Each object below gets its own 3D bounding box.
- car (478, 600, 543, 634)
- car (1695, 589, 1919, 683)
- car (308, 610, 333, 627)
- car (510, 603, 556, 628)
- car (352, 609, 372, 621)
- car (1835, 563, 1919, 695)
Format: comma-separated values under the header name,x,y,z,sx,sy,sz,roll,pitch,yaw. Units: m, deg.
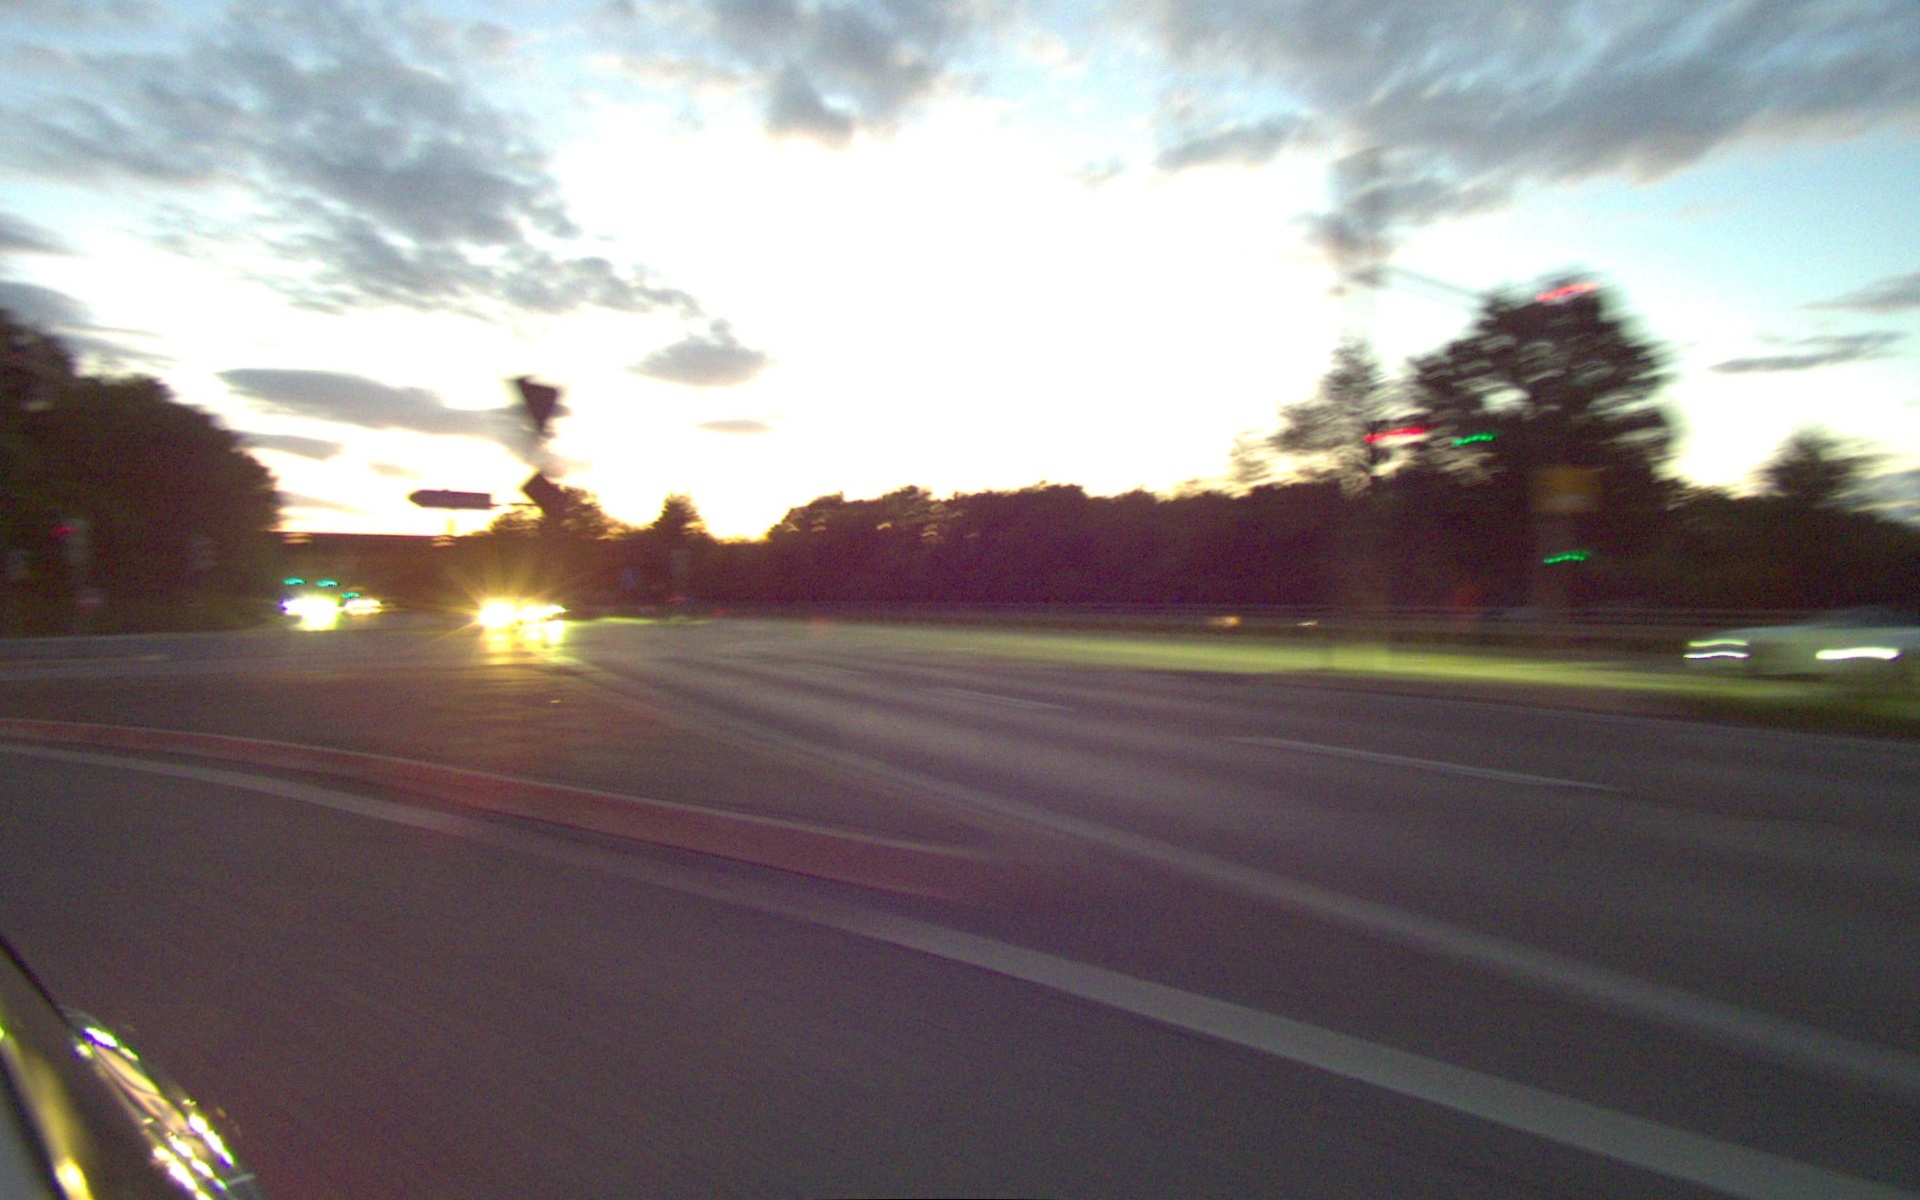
name,x,y,z,sx,sy,sz,roll,pitch,yaw
car,-20.466,0.789,45.973,1.967,1.464,4.010,2,-2,-35
car,15.385,0.572,16.802,1.966,1.464,4.747,0,-1,-34
car,-70.644,2.012,111.852,1.974,1.741,4.013,0,0,-27
car,-26.471,0.923,62.626,1.966,1.464,4.748,-1,0,-31
car,-78.953,1.955,133.704,2.024,1.608,4.013,-1,0,-27
car,14.000,0.392,12.201,1.967,1.694,4.886,0,0,-34
